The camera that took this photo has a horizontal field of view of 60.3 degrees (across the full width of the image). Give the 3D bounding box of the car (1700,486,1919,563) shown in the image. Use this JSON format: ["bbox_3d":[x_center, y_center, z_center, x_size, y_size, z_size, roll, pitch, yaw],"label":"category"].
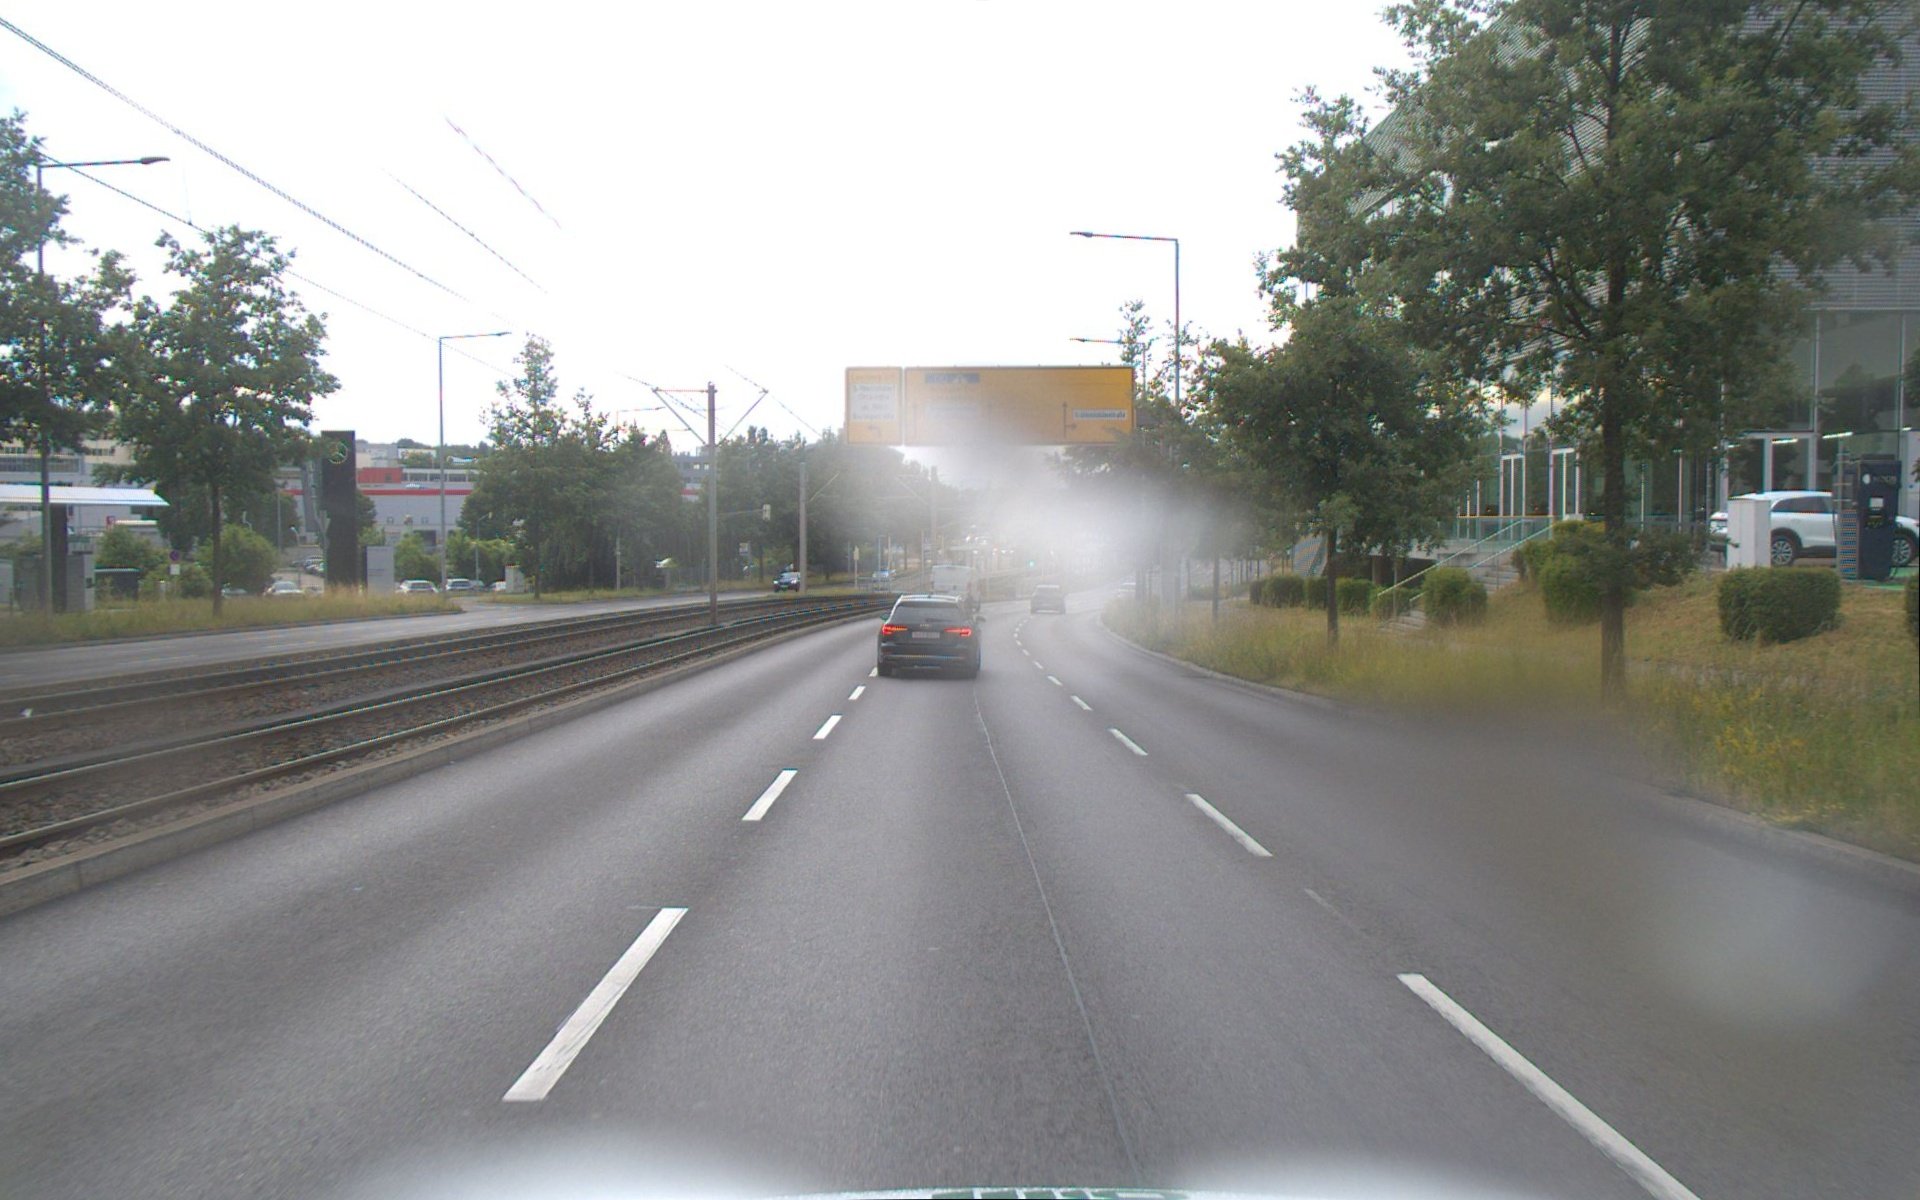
[{"bbox_3d":[19.104,-1.673,37.199,4.173,1.601,1.692,1,1,-2],"label":"car"}]

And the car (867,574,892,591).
[{"bbox_3d":[-8.188,-1.807,168.670,1.951,1.709,4.003,2,1,7],"label":"car"}]

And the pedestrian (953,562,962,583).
[{"bbox_3d":[-0.212,-2.516,152.753,0.623,1.886,0.751,2,-1,11],"label":"pedestrian"}]

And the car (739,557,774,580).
[{"bbox_3d":[-19.856,-3.077,161.516,1.951,2.049,4.003,2,0,14],"label":"car"}]

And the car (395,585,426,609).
[{"bbox_3d":[-37.620,-0.220,113.211,1.727,1.520,3.974,2,-1,-21],"label":"car"}]

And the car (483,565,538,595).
[{"bbox_3d":[-27.353,-1.228,100.693,1.952,1.679,4.002,2,-1,4],"label":"car"}]

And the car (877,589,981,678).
[{"bbox_3d":[-0.514,0.564,30.328,1.728,1.489,4.627,1,0,0],"label":"car"}]

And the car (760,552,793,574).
[{"bbox_3d":[-18.467,-3.685,166.664,1.951,2.049,4.003,2,0,14],"label":"car"}]

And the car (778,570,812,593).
[{"bbox_3d":[-12.016,-1.387,120.510,1.844,1.547,4.405,-3,1,2],"label":"car"}]

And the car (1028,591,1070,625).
[{"bbox_3d":[4.669,0.426,86.326,1.978,1.651,4.003,2,-1,6],"label":"car"}]

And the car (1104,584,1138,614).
[{"bbox_3d":[10.891,-0.101,111.582,1.978,1.800,4.005,1,3,9],"label":"car"}]

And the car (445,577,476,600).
[{"bbox_3d":[-34.568,-0.764,114.447,1.727,1.520,3.974,2,-1,-21],"label":"car"}]

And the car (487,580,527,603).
[{"bbox_3d":[-31.681,-0.617,115.668,1.969,1.536,3.967,2,-1,-26],"label":"car"}]

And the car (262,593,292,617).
[{"bbox_3d":[-45.022,0.295,109.040,1.727,1.520,3.974,2,-1,-21],"label":"car"}]

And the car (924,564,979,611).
[{"bbox_3d":[-0.389,-0.578,82.444,2.459,2.215,5.150,2,-1,2],"label":"car"}]
